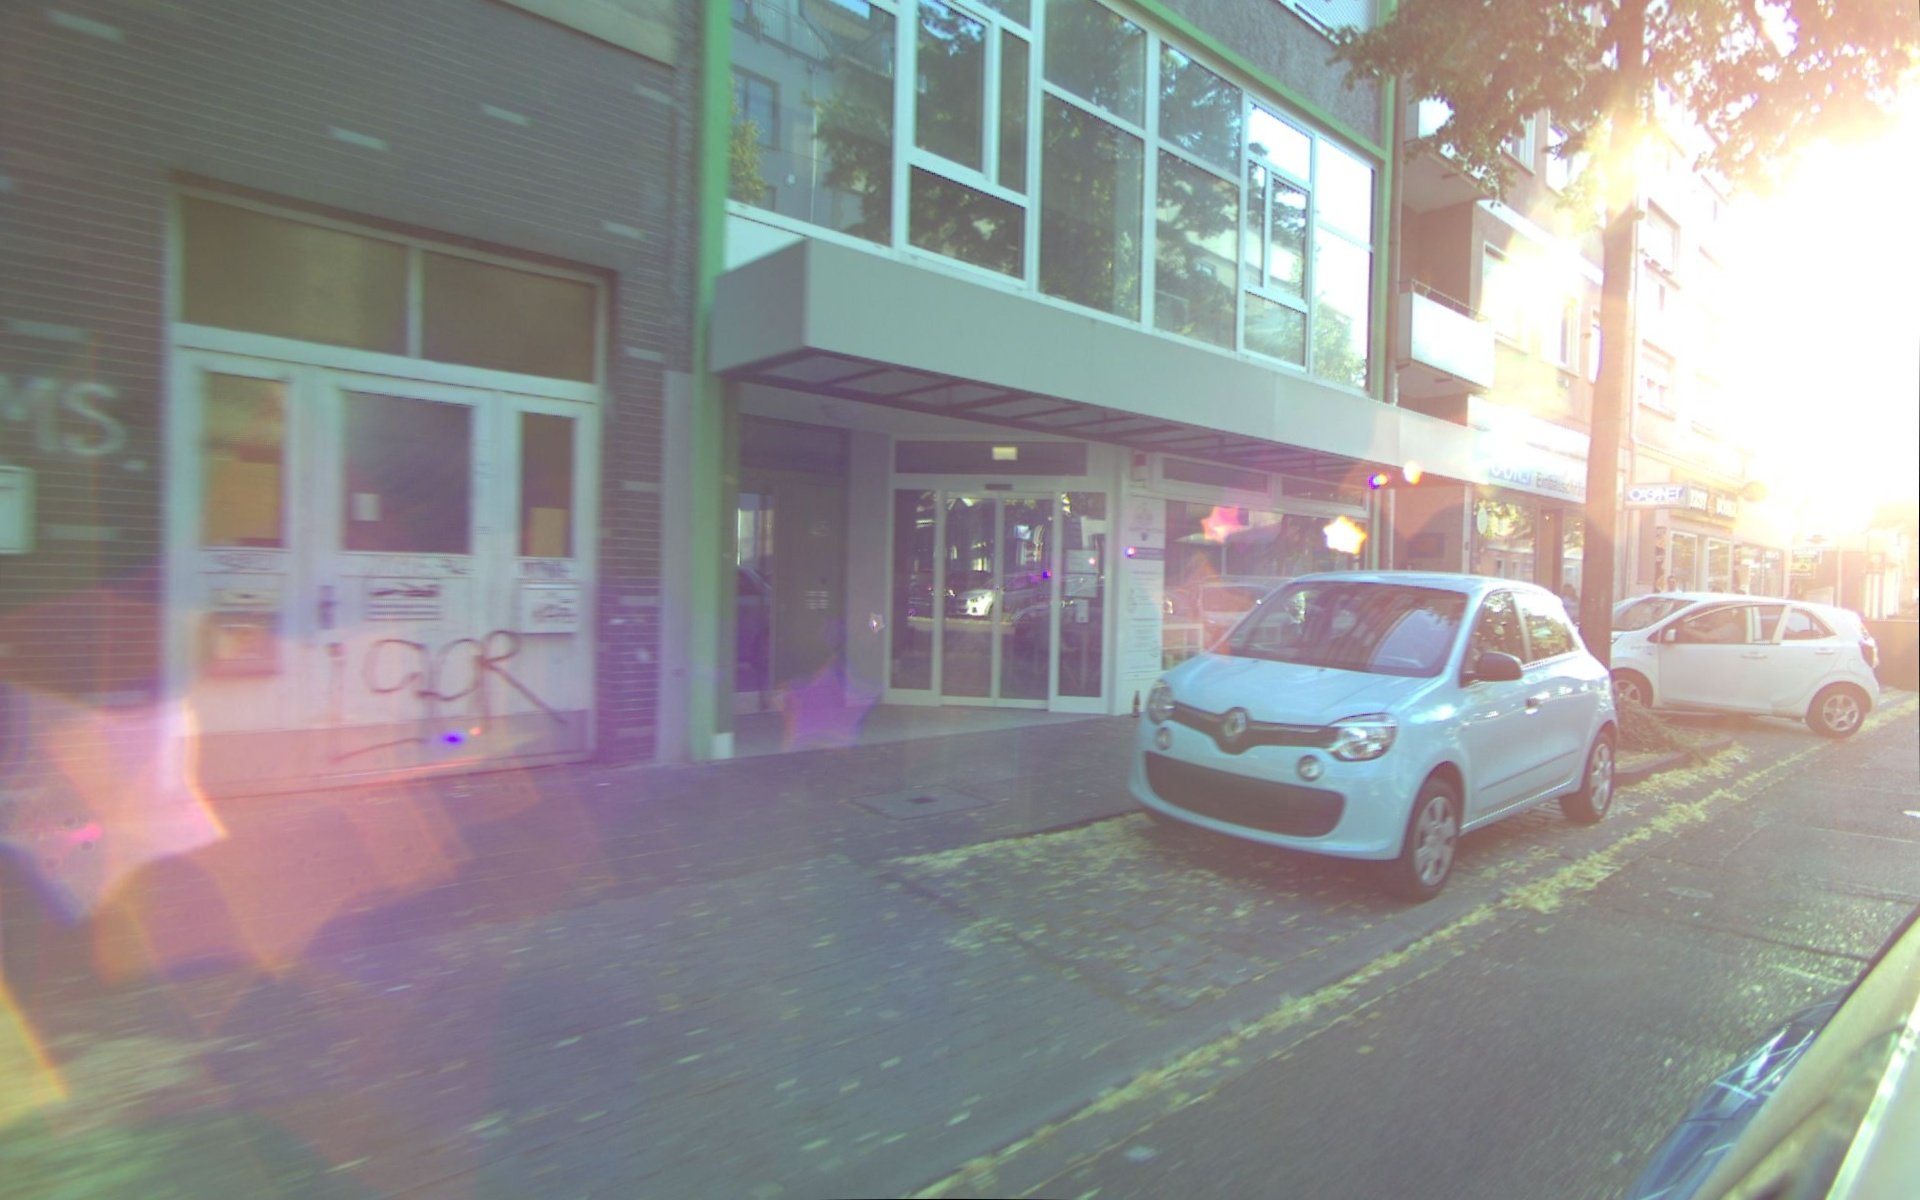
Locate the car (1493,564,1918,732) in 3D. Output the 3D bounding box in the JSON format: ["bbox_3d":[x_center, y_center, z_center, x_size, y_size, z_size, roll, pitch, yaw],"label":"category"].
[{"bbox_3d":[8.445,0.490,11.718,3.556,1.603,1.666,3,1,1],"label":"car"}]

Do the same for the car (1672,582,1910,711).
[{"bbox_3d":[12.224,0.595,14.821,3.918,1.490,1.831,1,5,-39],"label":"car"}]

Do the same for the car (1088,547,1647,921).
[{"bbox_3d":[2.601,0.551,6.121,3.491,1.561,1.695,0,3,-42],"label":"car"}]

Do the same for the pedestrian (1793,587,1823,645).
[{"bbox_3d":[24.863,0.464,29.674,0.563,1.644,0.493,1,3,-40],"label":"pedestrian"}]

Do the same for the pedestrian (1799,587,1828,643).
[{"bbox_3d":[25.703,0.448,30.463,0.563,1.644,0.493,1,3,-40],"label":"pedestrian"}]

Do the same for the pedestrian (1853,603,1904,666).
[{"bbox_3d":[20.465,0.755,22.553,0.636,1.322,0.687,1,3,-39],"label":"pedestrian"}]

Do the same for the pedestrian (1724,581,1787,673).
[{"bbox_3d":[14.852,0.490,18.890,0.841,1.652,0.747,1,1,-41],"label":"pedestrian"}]

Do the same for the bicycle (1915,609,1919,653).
[{"bbox_3d":[27.306,0.910,27.584,0.469,1.230,2.063,1,1,-4],"label":"bicycle"}]

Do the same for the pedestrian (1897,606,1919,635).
[{"bbox_3d":[38.938,0.841,41.549,0.636,1.149,0.551,1,3,-40],"label":"pedestrian"}]

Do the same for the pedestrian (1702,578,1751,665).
[{"bbox_3d":[14.928,0.402,19.714,0.657,1.652,0.607,1,1,-41],"label":"pedestrian"}]

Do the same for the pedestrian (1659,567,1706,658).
[{"bbox_3d":[14.426,0.237,20.211,0.657,1.760,0.607,1,1,-41],"label":"pedestrian"}]
